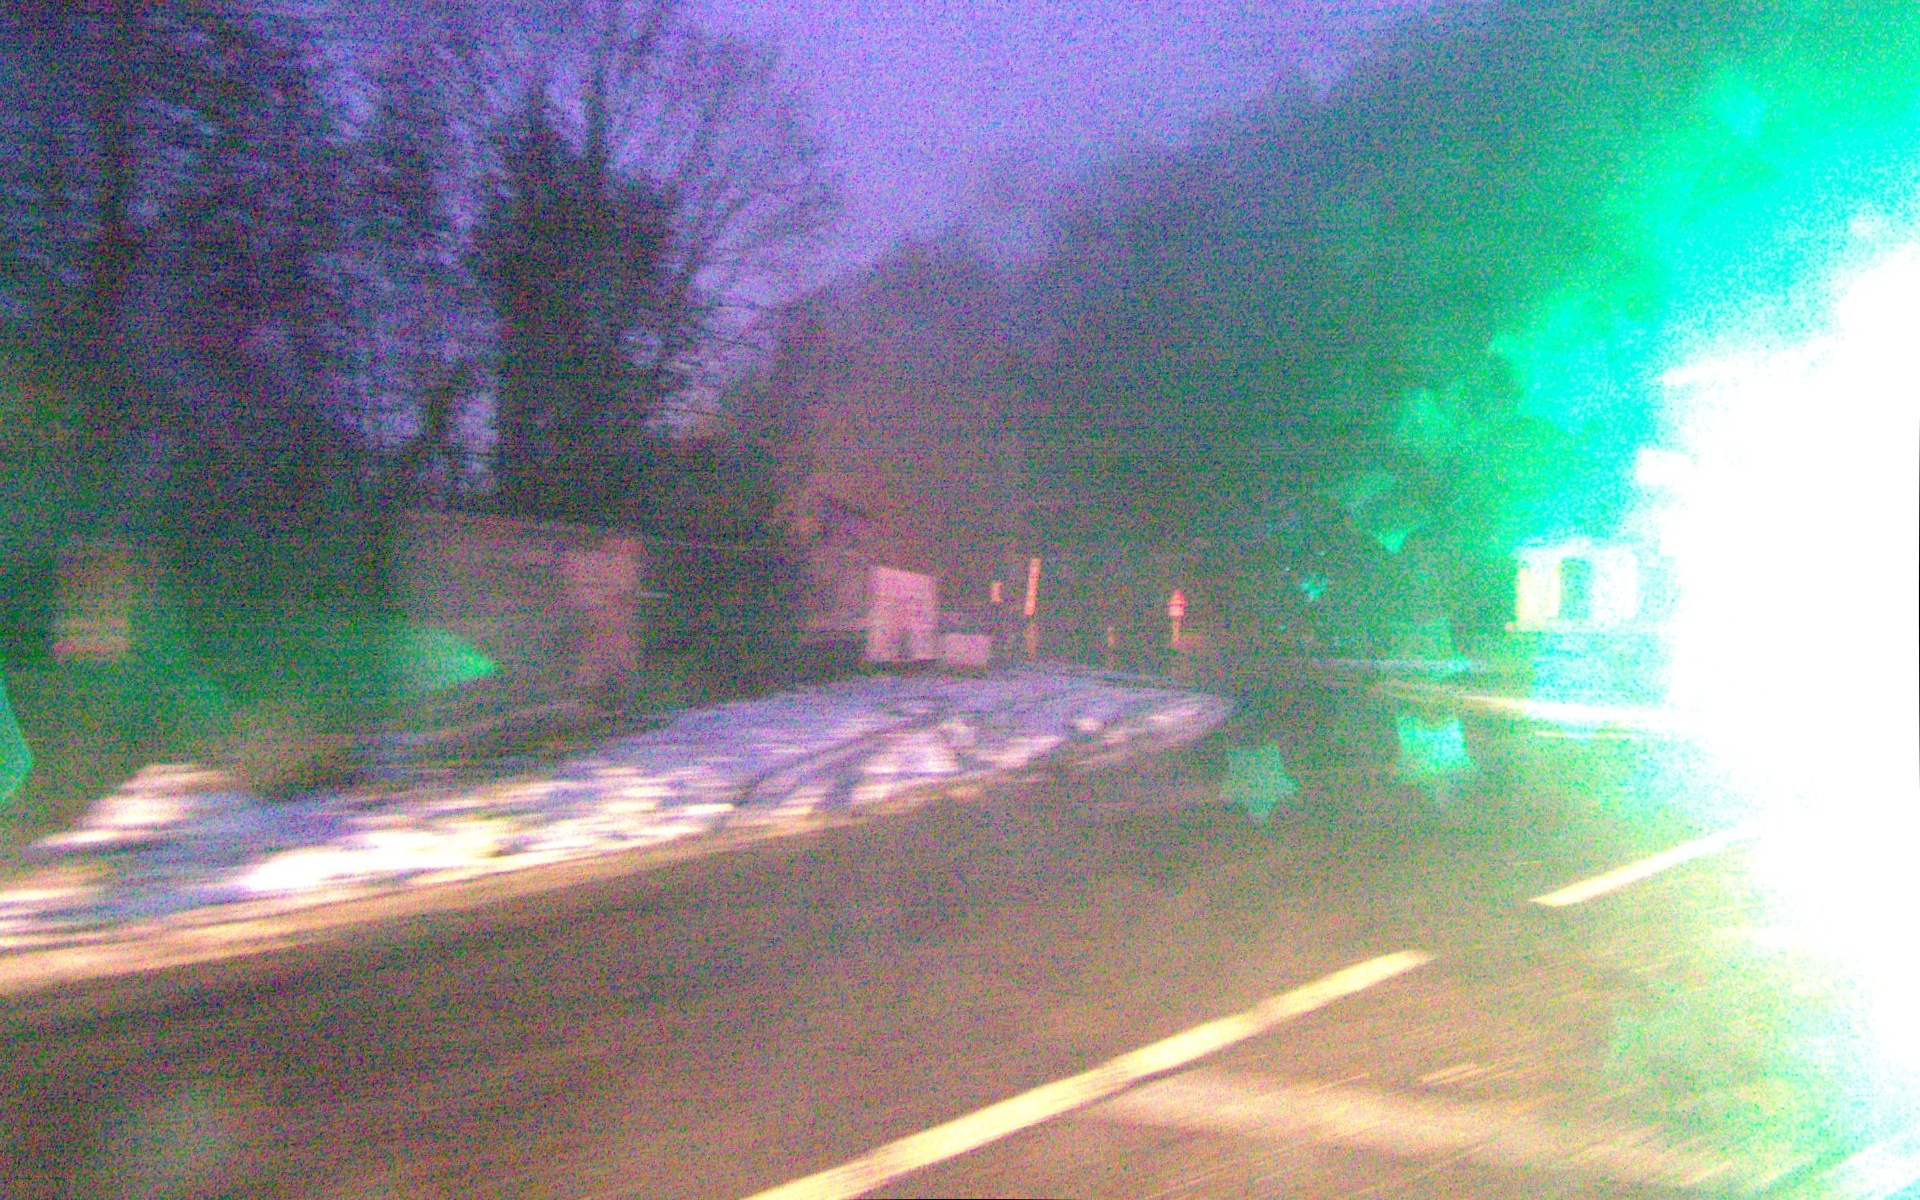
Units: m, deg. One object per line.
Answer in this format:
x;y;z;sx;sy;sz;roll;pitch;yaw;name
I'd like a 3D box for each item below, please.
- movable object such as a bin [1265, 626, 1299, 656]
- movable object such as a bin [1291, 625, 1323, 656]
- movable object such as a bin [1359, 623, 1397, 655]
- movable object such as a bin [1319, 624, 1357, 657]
14.951;1.888;46.636;1.298;1.326;1.175;0;0;27;movable object such as a bin
15.793;1.842;45.706;1.210;1.343;1.151;1;0;29;movable object such as a bin
18.337;1.710;44.024;1.296;1.316;1.247;-1;2;34;movable object such as a bin
16.935;1.799;44.968;1.367;1.432;1.249;1;0;30;movable object such as a bin
